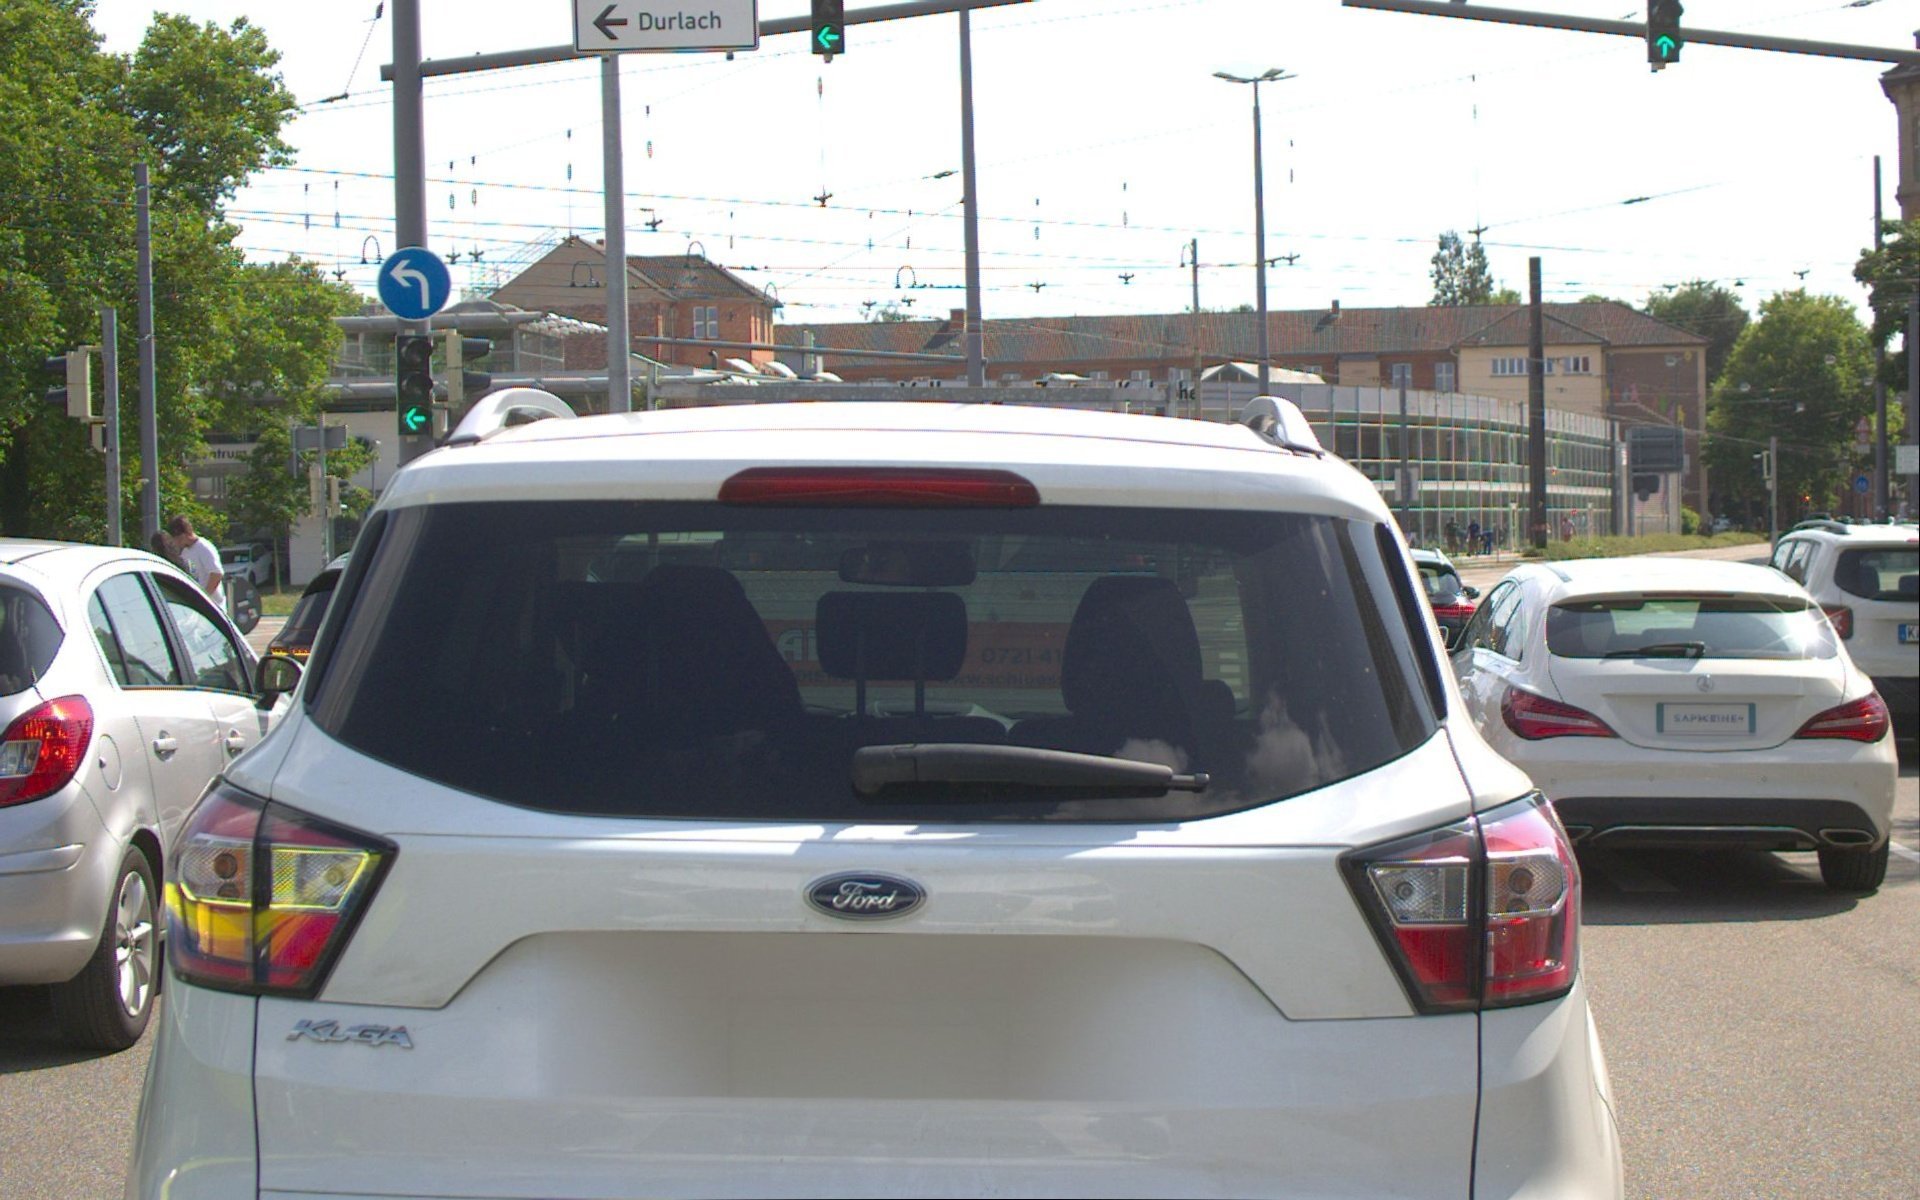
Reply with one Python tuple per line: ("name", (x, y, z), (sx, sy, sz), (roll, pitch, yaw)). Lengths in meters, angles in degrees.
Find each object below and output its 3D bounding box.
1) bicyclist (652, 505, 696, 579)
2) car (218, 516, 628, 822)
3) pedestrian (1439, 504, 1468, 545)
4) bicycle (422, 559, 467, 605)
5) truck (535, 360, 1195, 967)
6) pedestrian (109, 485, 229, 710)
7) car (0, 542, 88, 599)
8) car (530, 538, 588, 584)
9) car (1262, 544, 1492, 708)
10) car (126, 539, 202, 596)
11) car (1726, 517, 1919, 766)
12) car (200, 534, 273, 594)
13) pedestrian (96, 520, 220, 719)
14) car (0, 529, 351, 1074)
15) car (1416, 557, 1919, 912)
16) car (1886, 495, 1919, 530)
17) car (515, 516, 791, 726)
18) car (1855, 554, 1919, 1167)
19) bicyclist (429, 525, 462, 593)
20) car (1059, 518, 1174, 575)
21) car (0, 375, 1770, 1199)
("bicyclist", (-6.667, -1.356, 80.258), (0.760, 1.677, 0.760), (-2, 1, 14))
("car", (-2.965, 0.314, 19.870), (1.762, 1.563, 4.527), (0, 1, -1))
("pedestrian", (20.817, -3.181, 144.911), (0.877, 1.731, 0.874), (1, 1, 35))
("bicycle", (-13.142, -0.471, 87.631), (0.637, 1.121, 1.785), (-1, 2, -26))
("truck", (-0.184, 0.182, 15.210), (2.339, 2.148, 5.851), (-1, 1, 3))
("pedestrian", (-6.849, -0.022, 29.805), (0.847, 1.910, 0.692), (-1, 0, -1))
("car", (-33.334, -1.049, 125.047), (1.967, 1.930, 5.069), (-3, 0, -1))
("car", (-14.206, -1.363, 121.991), (1.818, 1.528, 3.917), (-3, 0, -5))
("car", (3.770, 0.197, 31.595), (1.850, 1.414, 3.679), (0, 1, 3))
("car", (-28.657, -1.151, 123.899), (1.967, 1.930, 4.231), (-3, 0, -5))
("car", (6.687, 0.255, 24.709), (1.837, 1.646, 3.999), (0, 0, 6))
("car", (-25.997, -1.280, 123.642), (1.993, 2.007, 4.231), (-3, 0, -5))
("pedestrian", (-6.748, 0.160, 28.955), (0.847, 1.642, 0.692), (-1, 0, -1))
("car", (-3.265, 0.524, 11.271), (1.848, 1.469, 4.000), (-1, 1, -1))
("car", (3.153, 0.518, 15.682), (1.850, 1.414, 3.679), (0, 1, 3))
("car", (46.653, -4.282, 169.041), (1.838, 1.646, 3.996), (0, 0, 20))
("car", (-2.421, 0.121, 28.163), (2.039, 1.573, 4.540), (0, 1, -2))
("car", (3.081, 0.647, 6.516), (1.649, 1.417, 4.000), (1, 1, -1))
("bicyclist", (-13.105, -1.044, 87.518), (0.637, 1.732, 0.662), (-1, 2, -27))
("car", (4.288, -1.478, 93.682), (1.901, 1.456, 3.964), (-2, 1, 22))
("car", (-0.021, 0.579, 5.388), (1.827, 1.658, 3.955), (0, 1, 3))
